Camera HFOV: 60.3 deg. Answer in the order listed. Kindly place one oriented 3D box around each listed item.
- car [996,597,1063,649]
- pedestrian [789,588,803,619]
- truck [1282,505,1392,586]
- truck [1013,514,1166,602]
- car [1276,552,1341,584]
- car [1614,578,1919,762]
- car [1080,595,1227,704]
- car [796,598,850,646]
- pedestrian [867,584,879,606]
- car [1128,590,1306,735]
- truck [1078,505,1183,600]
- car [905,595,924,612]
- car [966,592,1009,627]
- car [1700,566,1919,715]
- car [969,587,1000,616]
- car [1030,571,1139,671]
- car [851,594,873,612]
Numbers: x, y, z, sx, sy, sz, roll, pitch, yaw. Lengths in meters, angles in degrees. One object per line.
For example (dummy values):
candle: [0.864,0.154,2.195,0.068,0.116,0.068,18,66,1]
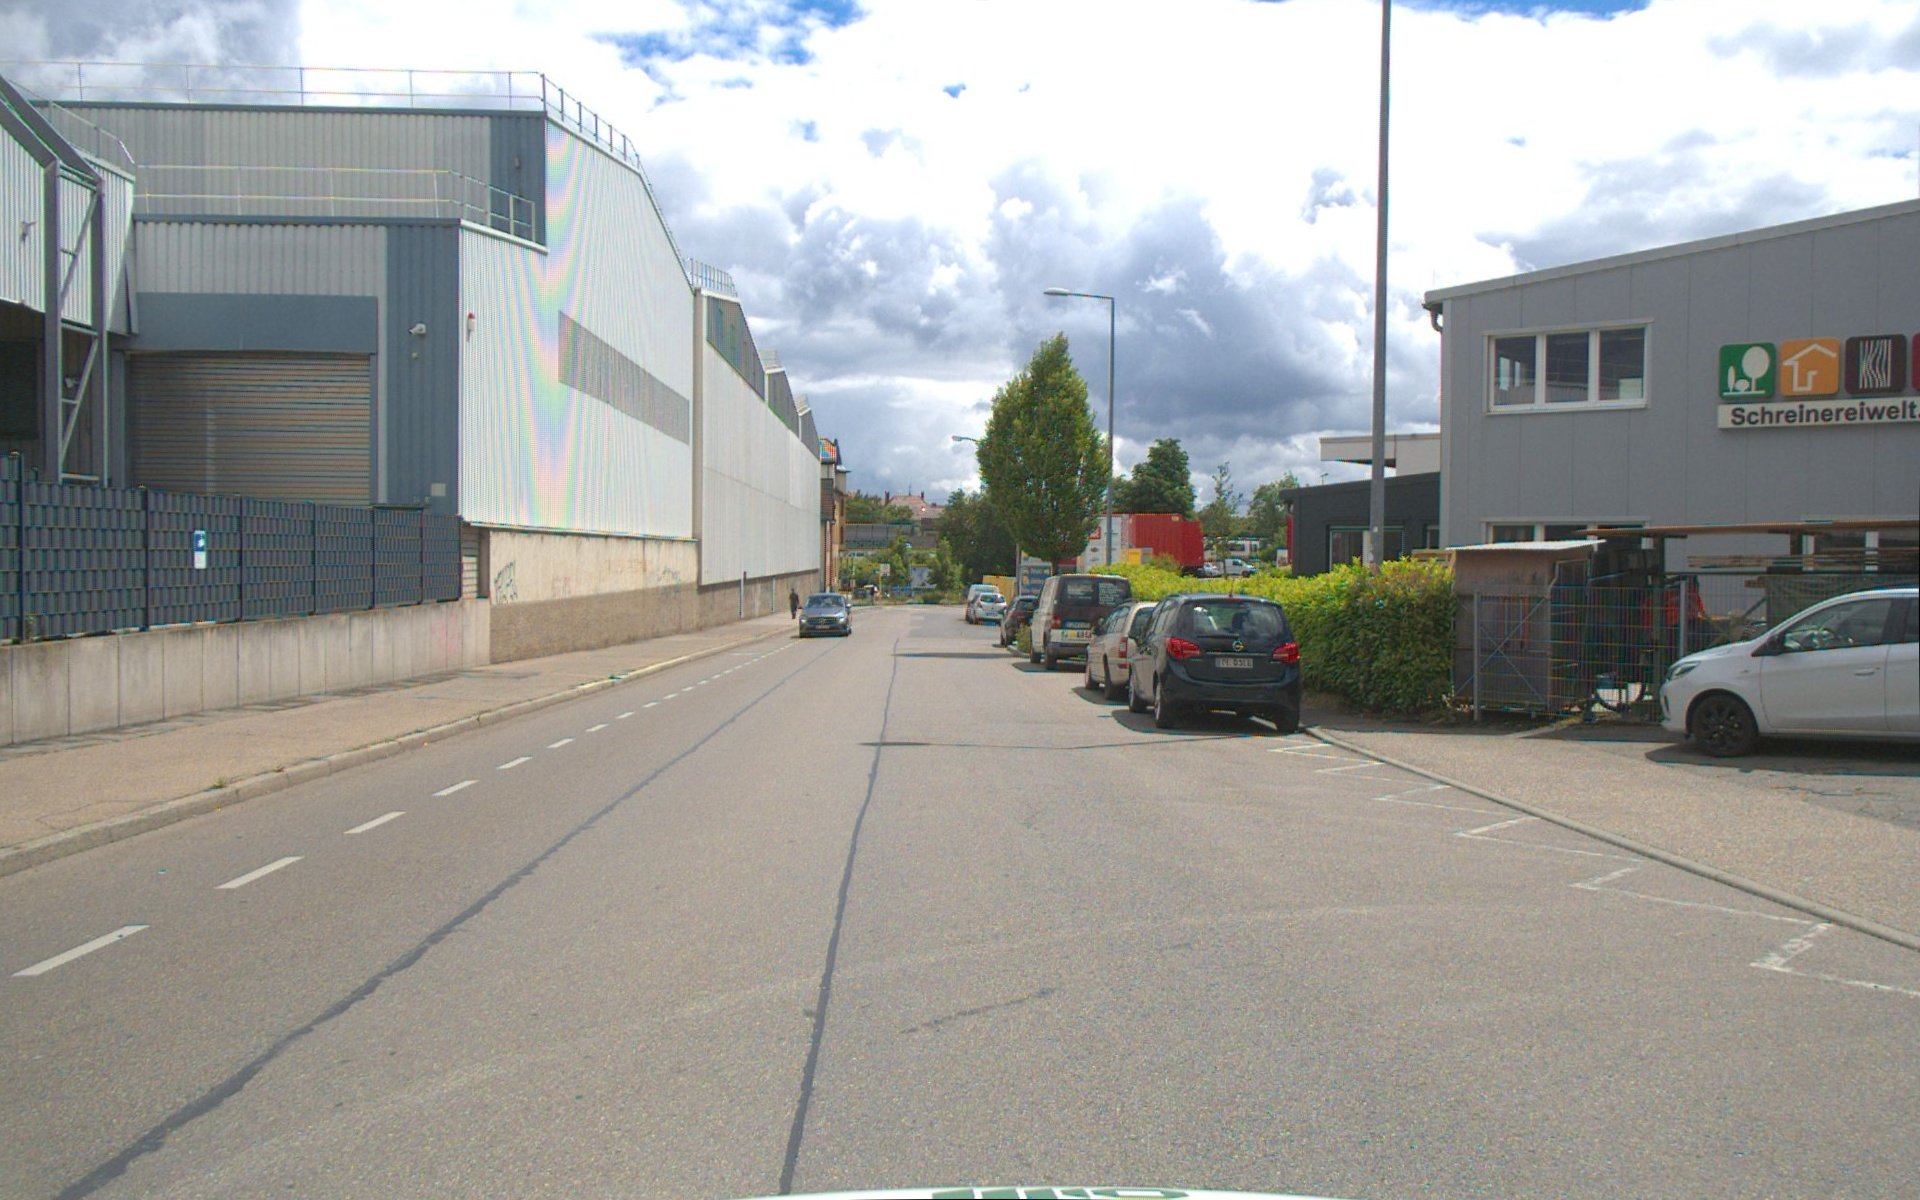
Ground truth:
car: [2.061,0.657,50.003,1.679,1.499,4.509,0,0,-2]
pedestrian: [-8.791,0.203,88.735,0.698,1.666,0.777,0,-2,0]
truck: [21.793,-3.032,95.232,2.941,4.131,8.440,-1,-2,37]
truck: [7.355,-2.325,94.126,8.274,4.753,2.583,0,-2,19]
car: [31.470,-2.904,149.545,5.522,2.724,2.000,-1,-2,20]
car: [8.231,0.588,14.863,1.709,1.488,4.016,-4,1,-40]
car: [2.947,0.709,26.030,1.622,1.567,4.732,0,0,-2]
car: [-4.953,0.805,60.378,1.685,1.583,4.285,-3,-1,-2]
pedestrian: [-6.833,-0.394,130.188,0.835,1.692,0.860,0,-2,3]
car: [3.172,0.715,21.116,1.645,1.666,4.122,0,0,0]
truck: [8.894,-2.394,87.353,2.535,4.527,7.819,1,-2,-19]
car: [-4.384,0.326,158.221,1.815,1.512,3.998,0,-2,-2]
car: [1.314,0.425,80.155,1.668,1.554,3.734,3,0,-5]
car: [10.476,0.408,18.064,1.673,1.531,4.016,-4,1,-40]
car: [1.321,0.061,90.869,1.666,1.554,3.738,0,0,0]
car: [2.641,0.428,36.123,1.831,2.025,5.142,0,0,-2]
car: [-8.691,0.270,146.779,1.815,1.512,3.998,0,-2,-2]
